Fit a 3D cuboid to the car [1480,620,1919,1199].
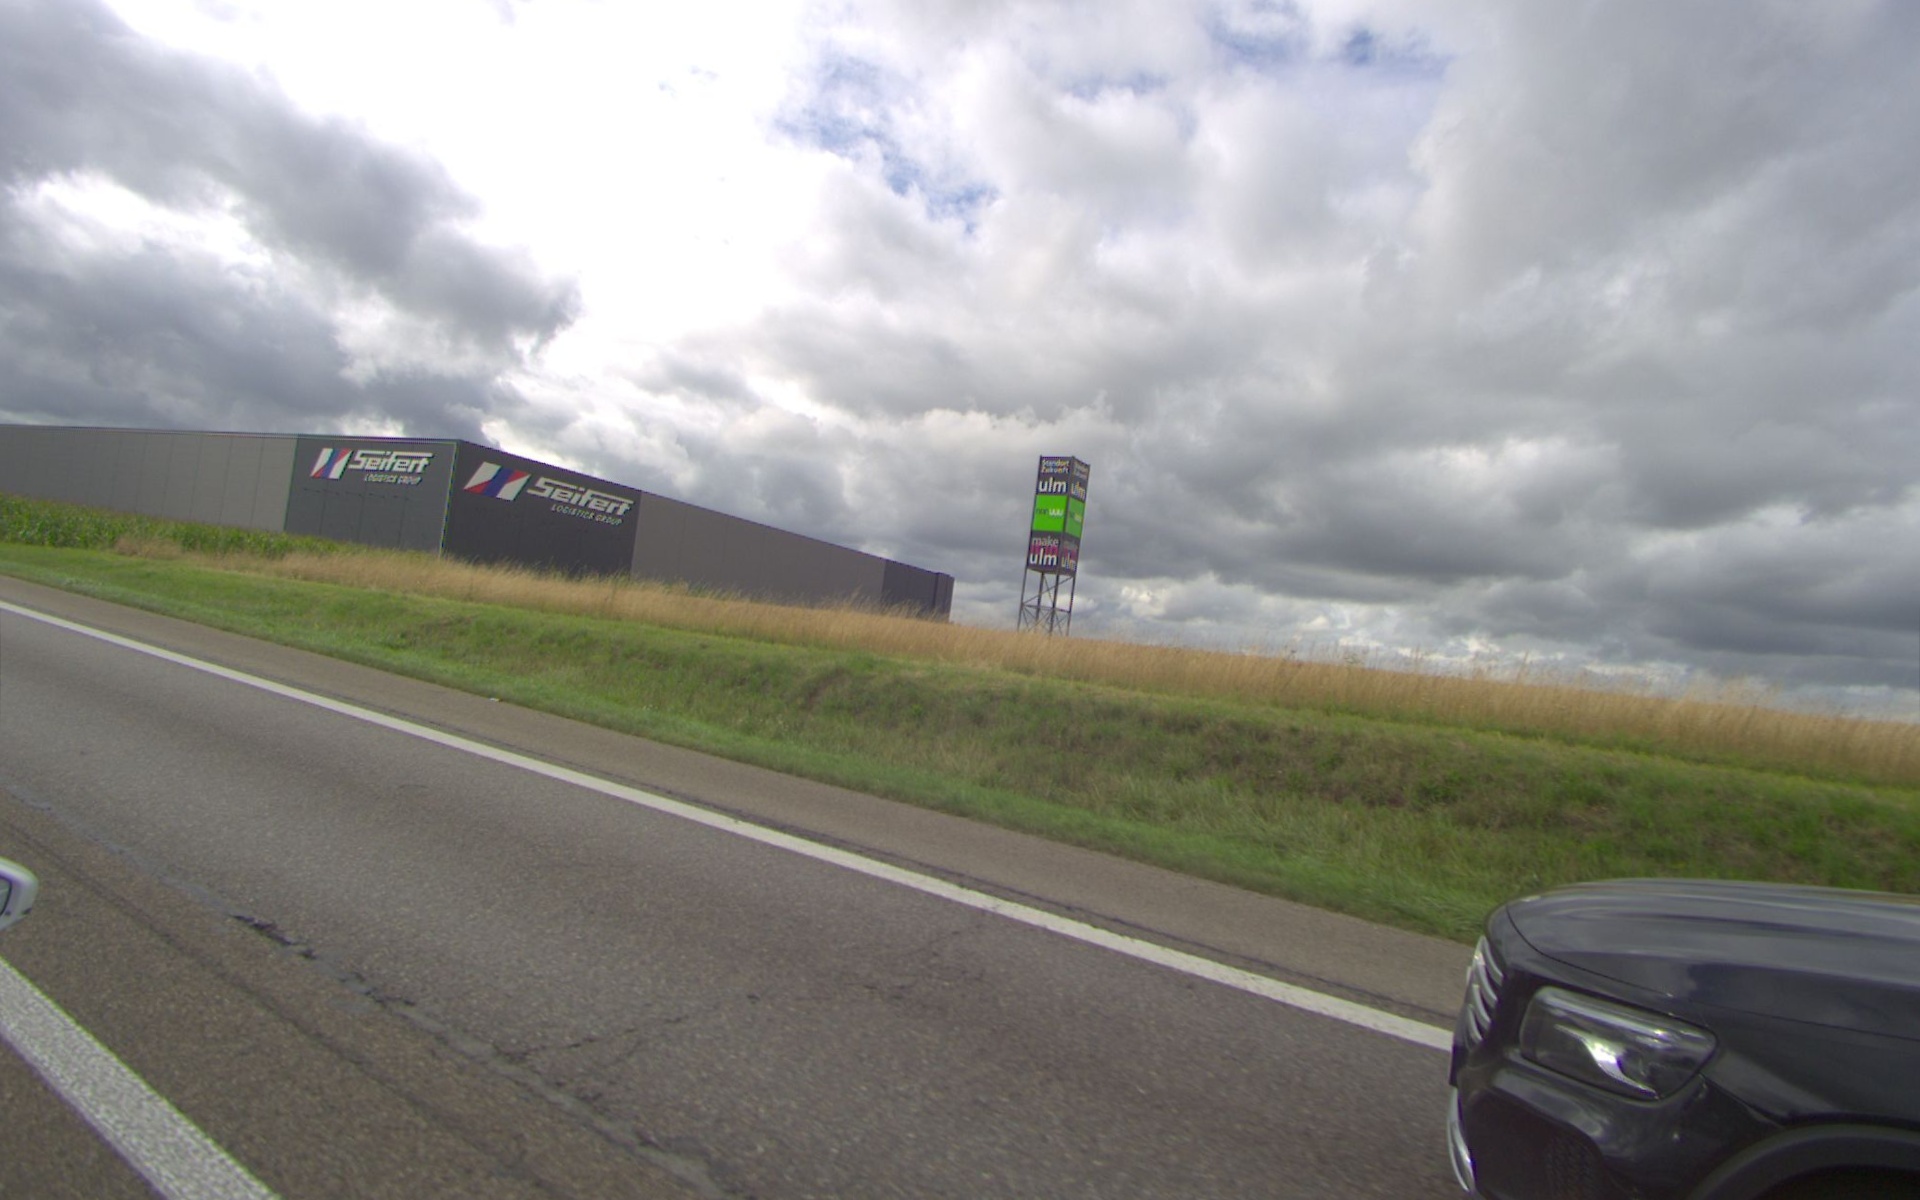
[{"bbox_3d":[3.410,1.130,1.743,4.288,1.628,1.836,6,-1,32],"label":"car"}]
